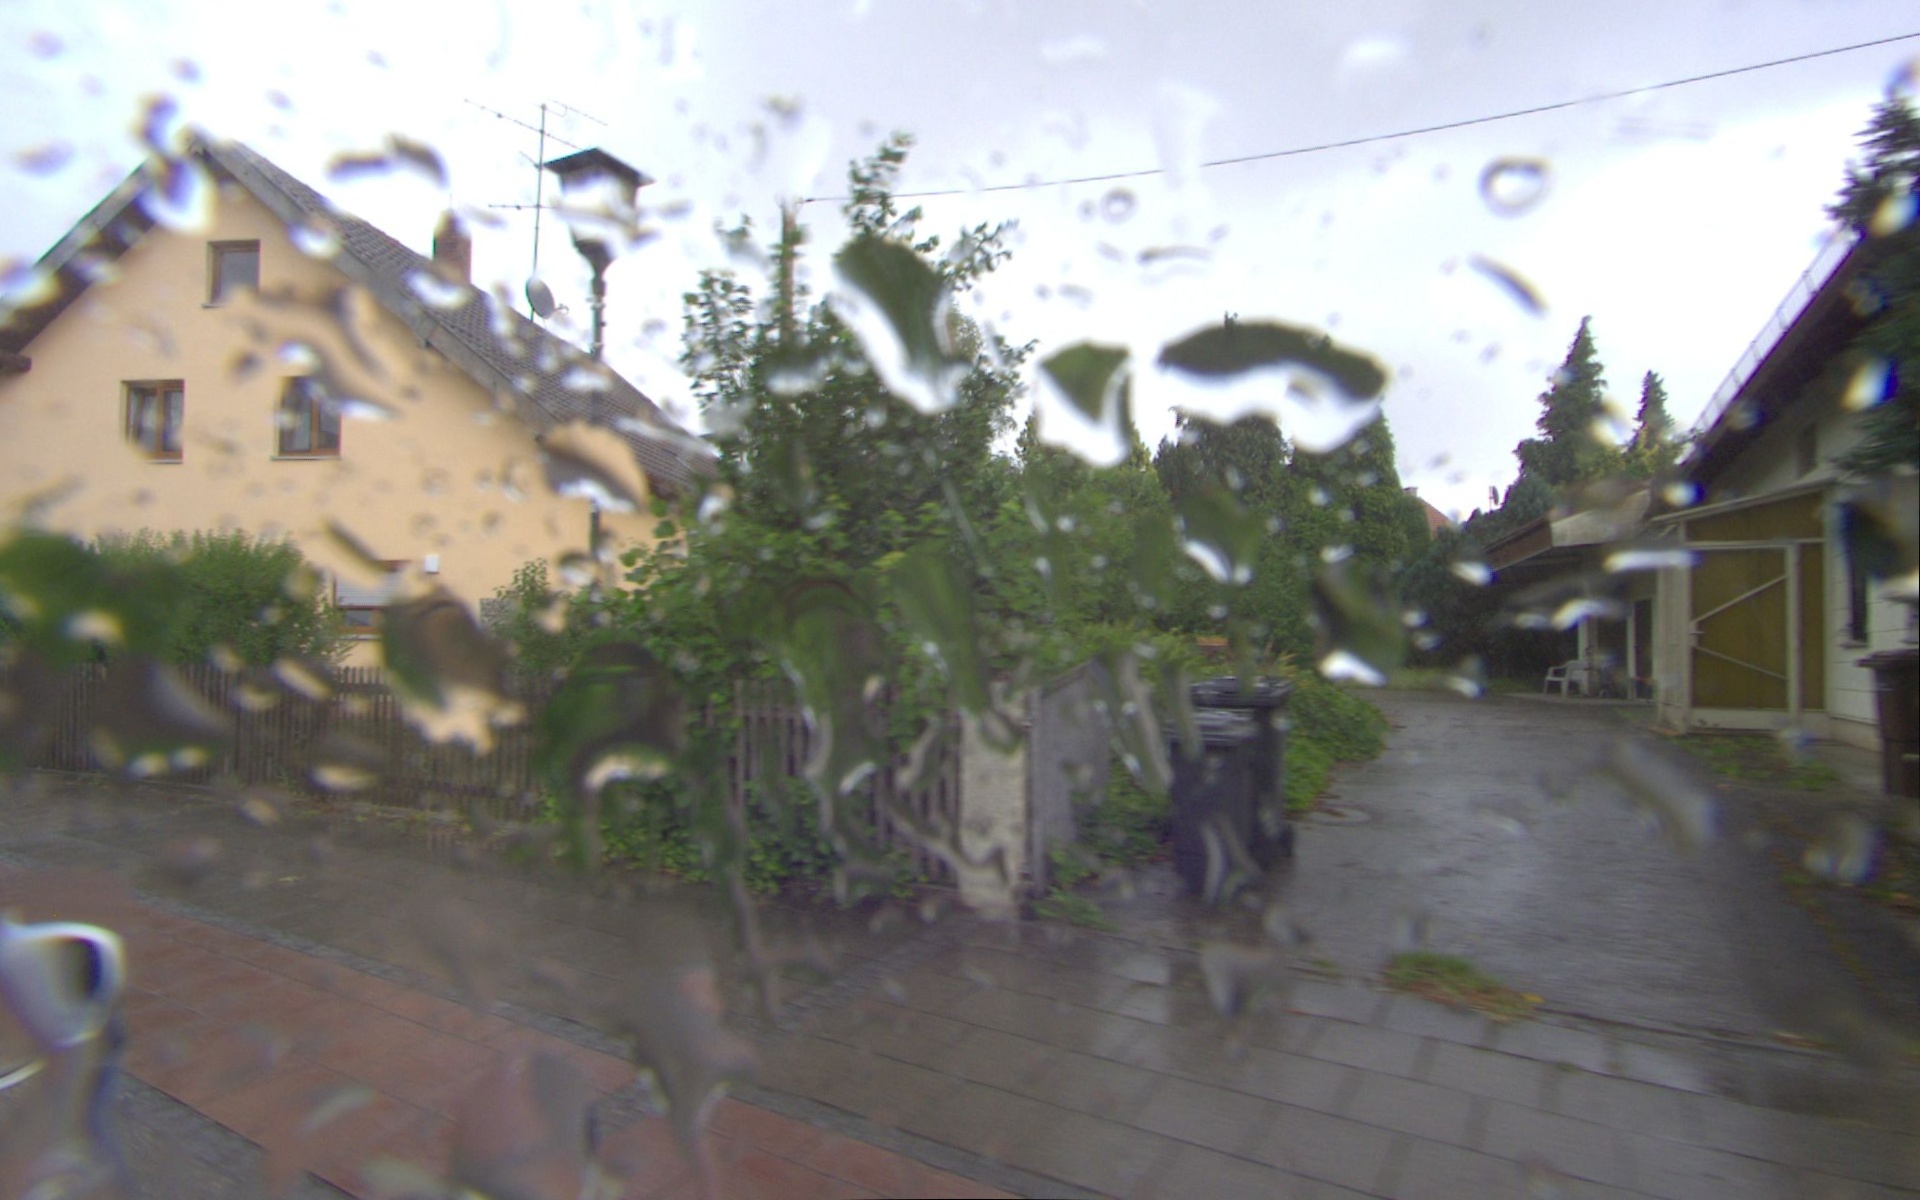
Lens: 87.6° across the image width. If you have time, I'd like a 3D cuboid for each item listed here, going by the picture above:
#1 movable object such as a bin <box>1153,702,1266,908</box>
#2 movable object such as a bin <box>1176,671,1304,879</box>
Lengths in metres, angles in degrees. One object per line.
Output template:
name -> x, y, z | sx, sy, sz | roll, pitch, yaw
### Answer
movable object such as a bin -> 1.290, 1.026, 5.167 | 0.440, 0.948, 0.432 | -1, 1, 33
movable object such as a bin -> 1.603, 0.958, 5.705 | 0.545, 1.054, 0.574 | -1, 1, 33
